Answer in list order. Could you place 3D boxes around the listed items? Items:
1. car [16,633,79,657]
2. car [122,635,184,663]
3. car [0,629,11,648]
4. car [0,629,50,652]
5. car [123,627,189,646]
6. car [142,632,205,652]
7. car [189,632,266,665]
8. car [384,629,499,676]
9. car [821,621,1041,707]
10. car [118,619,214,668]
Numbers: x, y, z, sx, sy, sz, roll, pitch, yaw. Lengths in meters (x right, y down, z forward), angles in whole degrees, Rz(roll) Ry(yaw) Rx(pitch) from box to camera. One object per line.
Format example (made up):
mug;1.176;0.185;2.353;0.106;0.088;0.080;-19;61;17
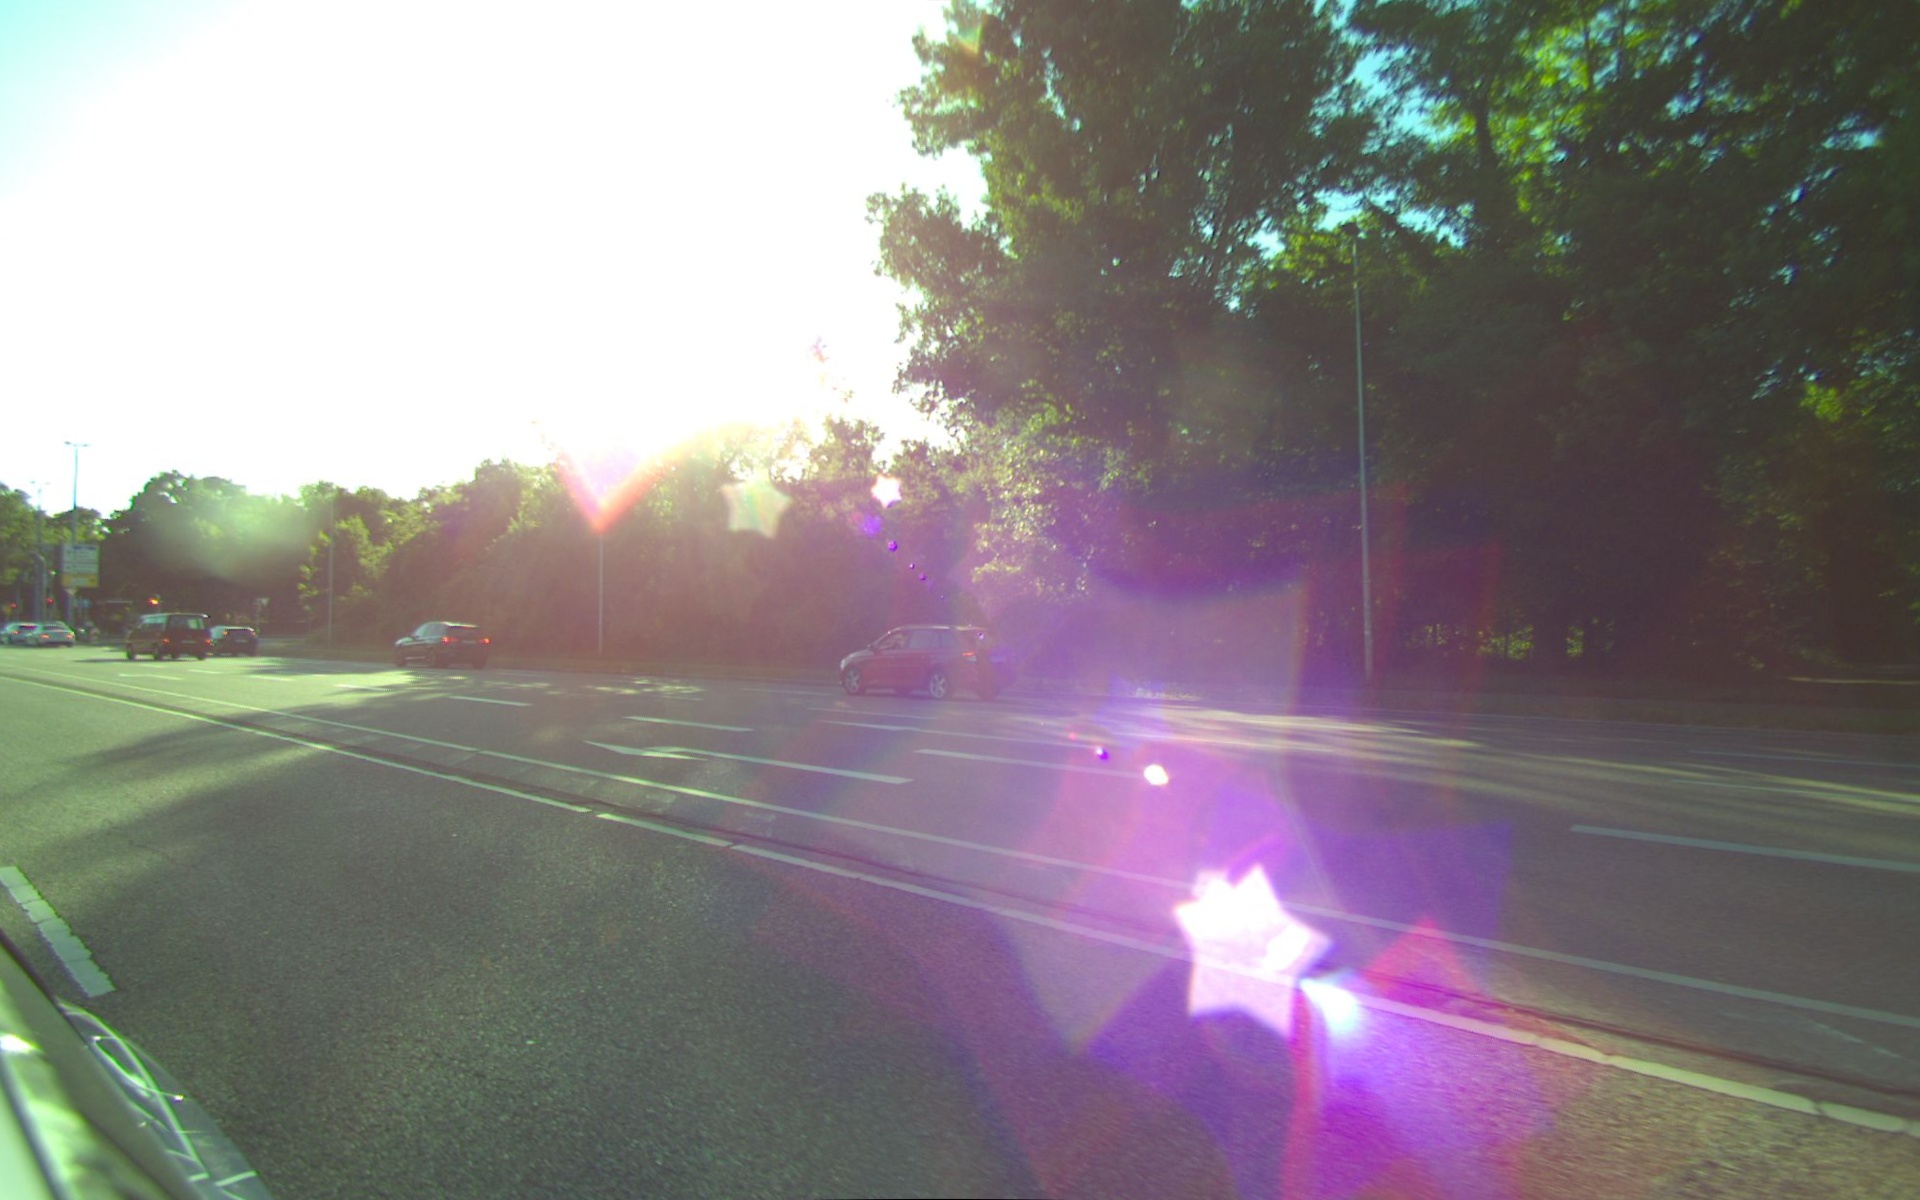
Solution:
car;-57.270;2.822;63.493;4.638;1.462;1.976;-1;-3;36
car;-50.131;3.033;62.840;4.642;1.576;1.974;-1;-5;39
car;-80.854;3.140;82.946;3.931;1.530;2.006;1;-2;-18
car;-63.355;2.732;68.097;4.829;1.462;1.977;-1;-3;34
car;-74.054;3.366;93.272;4.669;1.700;2.002;2;-3;-42
car;-58.346;3.106;75.168;1.966;1.462;4.660;1;-2;-14
car;-38.005;2.507;52.474;4.642;1.576;1.974;-1;-5;39
car;-19.282;1.913;37.576;4.838;1.649;1.974;-2;-3;39
car;-0.671;1.254;20.796;4.335;1.576;1.973;-2;-3;41
car;-33.827;1.849;43.097;4.638;1.977;1.976;-1;-3;36
